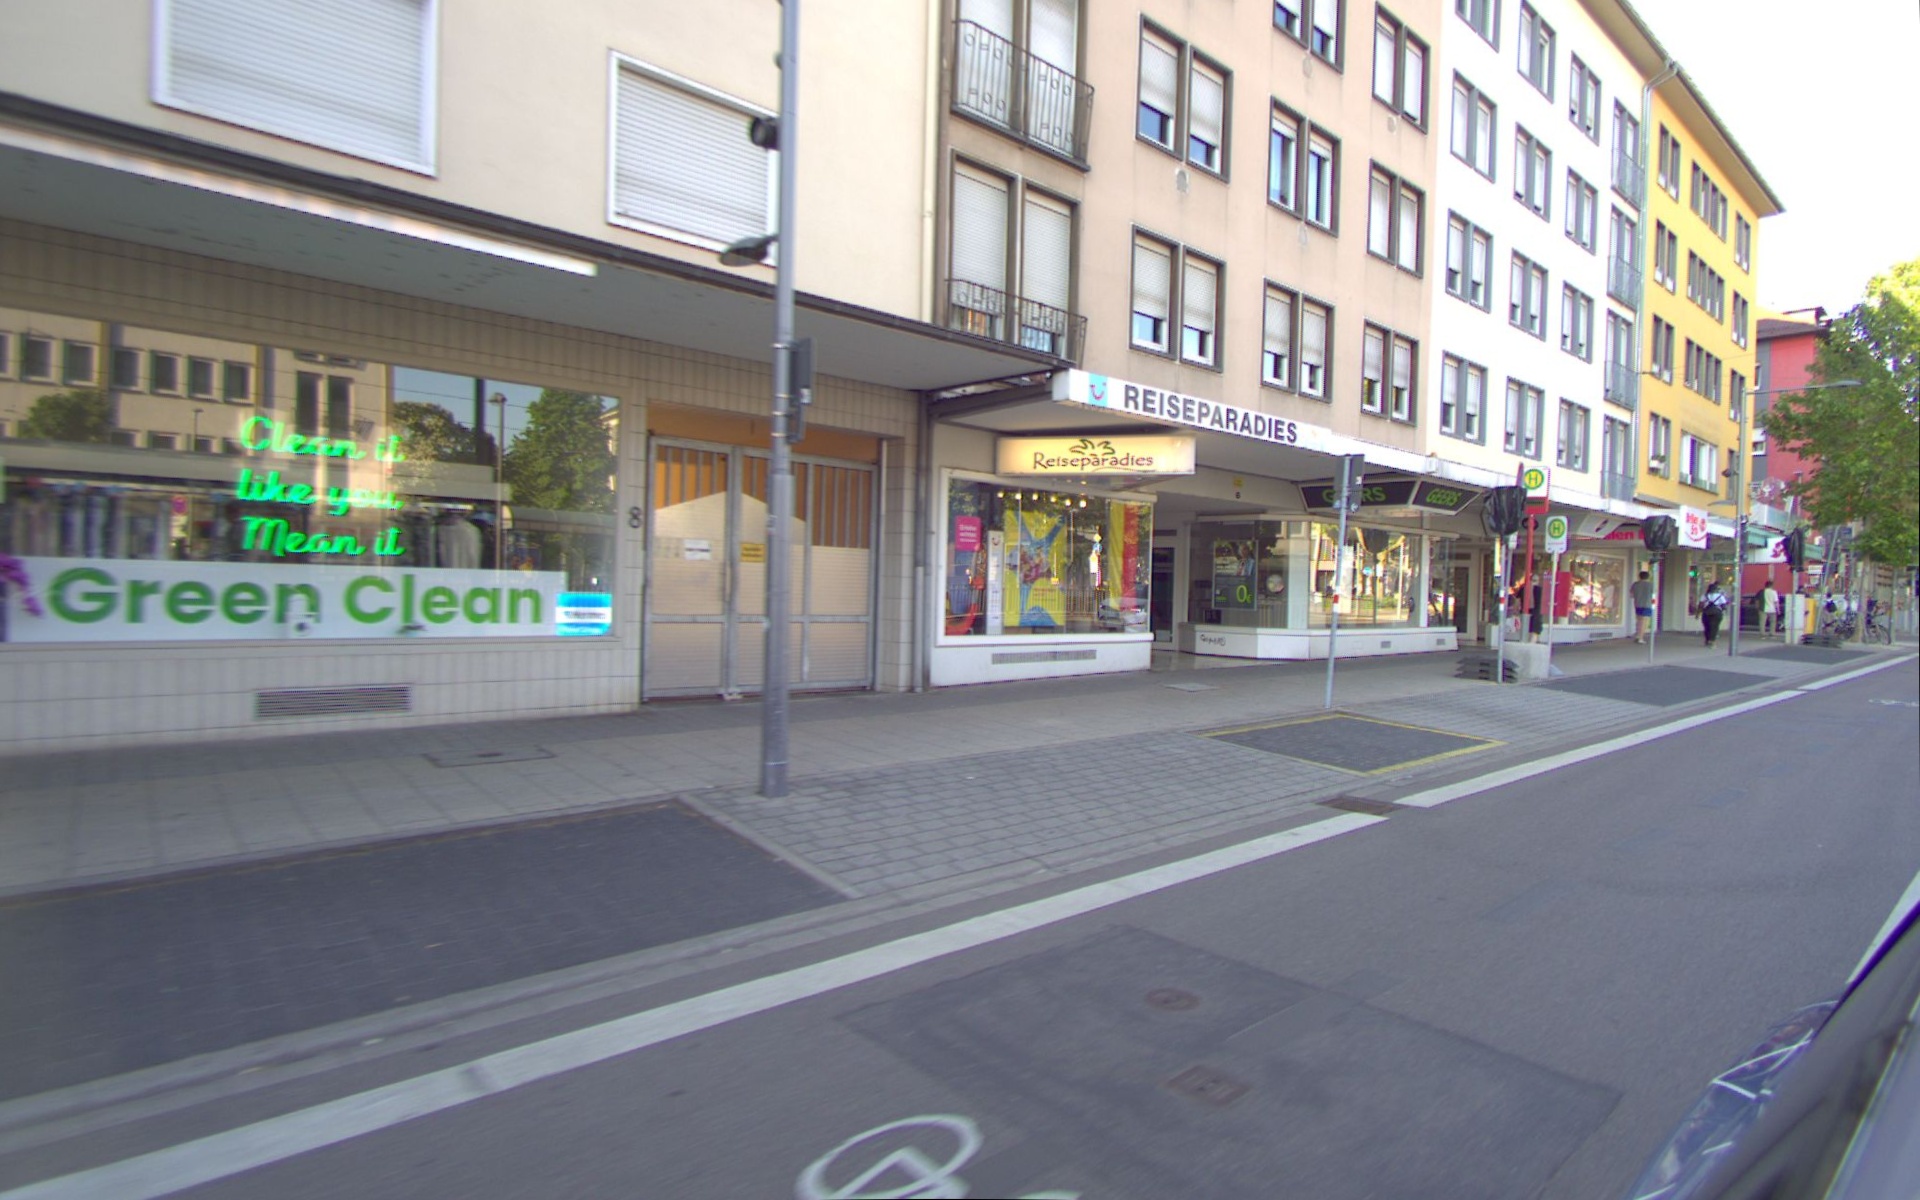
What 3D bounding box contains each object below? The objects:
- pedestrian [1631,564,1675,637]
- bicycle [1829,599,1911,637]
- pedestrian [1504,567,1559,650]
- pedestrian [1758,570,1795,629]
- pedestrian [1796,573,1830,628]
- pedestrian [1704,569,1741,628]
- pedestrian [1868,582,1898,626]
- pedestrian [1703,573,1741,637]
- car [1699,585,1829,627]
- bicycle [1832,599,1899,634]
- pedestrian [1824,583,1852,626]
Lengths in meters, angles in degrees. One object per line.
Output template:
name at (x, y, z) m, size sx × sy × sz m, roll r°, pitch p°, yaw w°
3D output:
pedestrian at (18.229, -0.001, 26.613) m, size 0.753 × 1.863 × 0.725 m, roll 0°, pitch 2°, yaw -41°
bicycle at (28.435, 0.541, 31.643) m, size 0.532 × 1.020 × 1.801 m, roll 0°, pitch 4°, yaw -43°
pedestrian at (11.765, 0.154, 20.845) m, size 0.753 × 1.652 × 0.725 m, roll 0°, pitch 2°, yaw -41°
pedestrian at (25.354, -0.020, 31.417) m, size 0.753 × 1.801 × 0.725 m, roll 0°, pitch 2°, yaw -41°
pedestrian at (29.053, 0.010, 34.482) m, size 0.753 × 1.829 × 0.725 m, roll 0°, pitch 2°, yaw -41°
pedestrian at (23.383, -0.058, 31.041) m, size 0.753 × 1.744 × 0.725 m, roll 0°, pitch 2°, yaw -41°
pedestrian at (38.356, 0.162, 42.061) m, size 0.801 × 1.731 × 0.728 m, roll 0°, pitch 4°, yaw -40°
pedestrian at (19.576, 0.127, 25.995) m, size 0.837 × 1.598 × 0.611 m, roll 0°, pitch 2°, yaw -43°
car at (36.218, 0.227, 45.681) m, size 1.741 × 1.707 × 4.350 m, roll 0°, pitch 2°, yaw -40°
bicycle at (27.923, 0.500, 31.234) m, size 0.446 × 1.020 × 1.484 m, roll 0°, pitch 2°, yaw -43°
pedestrian at (38.178, 0.176, 43.995) m, size 0.879 × 1.801 × 0.745 m, roll -1°, pitch 2°, yaw -41°
